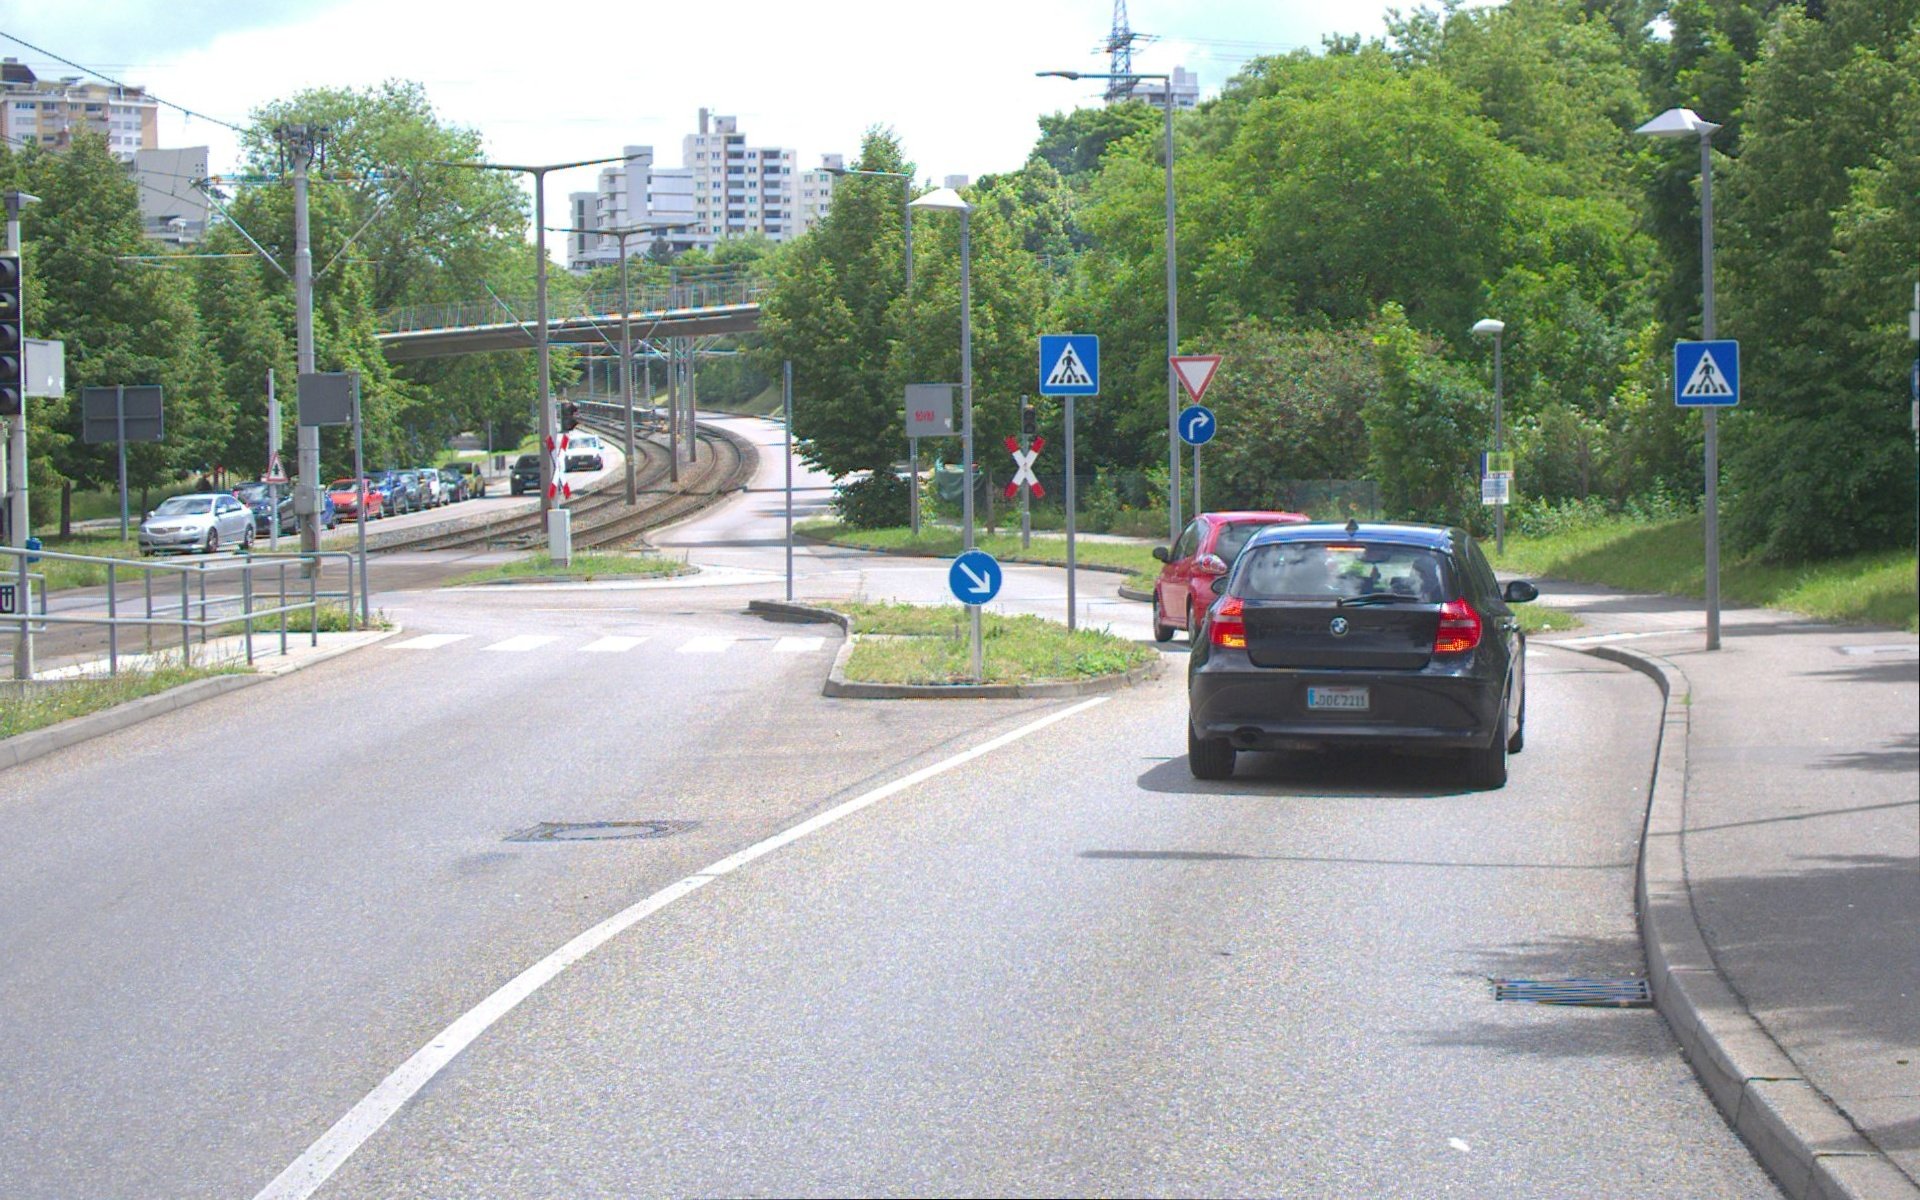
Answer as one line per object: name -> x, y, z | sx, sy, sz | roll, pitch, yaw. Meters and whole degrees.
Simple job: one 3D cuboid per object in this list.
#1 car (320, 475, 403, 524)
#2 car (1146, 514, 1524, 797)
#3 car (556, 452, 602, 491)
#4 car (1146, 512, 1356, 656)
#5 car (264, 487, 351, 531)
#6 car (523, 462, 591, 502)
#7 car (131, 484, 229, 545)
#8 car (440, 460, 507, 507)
car -> -20.167, -3.401, 115.935 | 1.912, 1.555, 4.000 | -1, 2, 2
car -> 2.244, 0.258, 19.672 | 1.816, 1.416, 3.998 | -2, 1, 11
car -> -20.085, -6.786, 181.194 | 1.993, 2.006, 4.002 | -1, 2, -12
car -> 3.075, -0.200, 36.922 | 1.765, 1.427, 3.479 | -2, 1, -3
car -> -20.044, -2.806, 105.702 | 1.806, 1.249, 3.568 | -1, 3, 3
car -> -16.978, -4.979, 144.964 | 1.994, 1.591, 4.419 | -1, 2, 5
car -> -18.960, -2.106, 83.708 | 1.876, 1.345, 3.832 | -2, 3, -6
car -> -20.163, -4.827, 142.514 | 1.994, 1.856, 4.000 | -1, 3, 3
